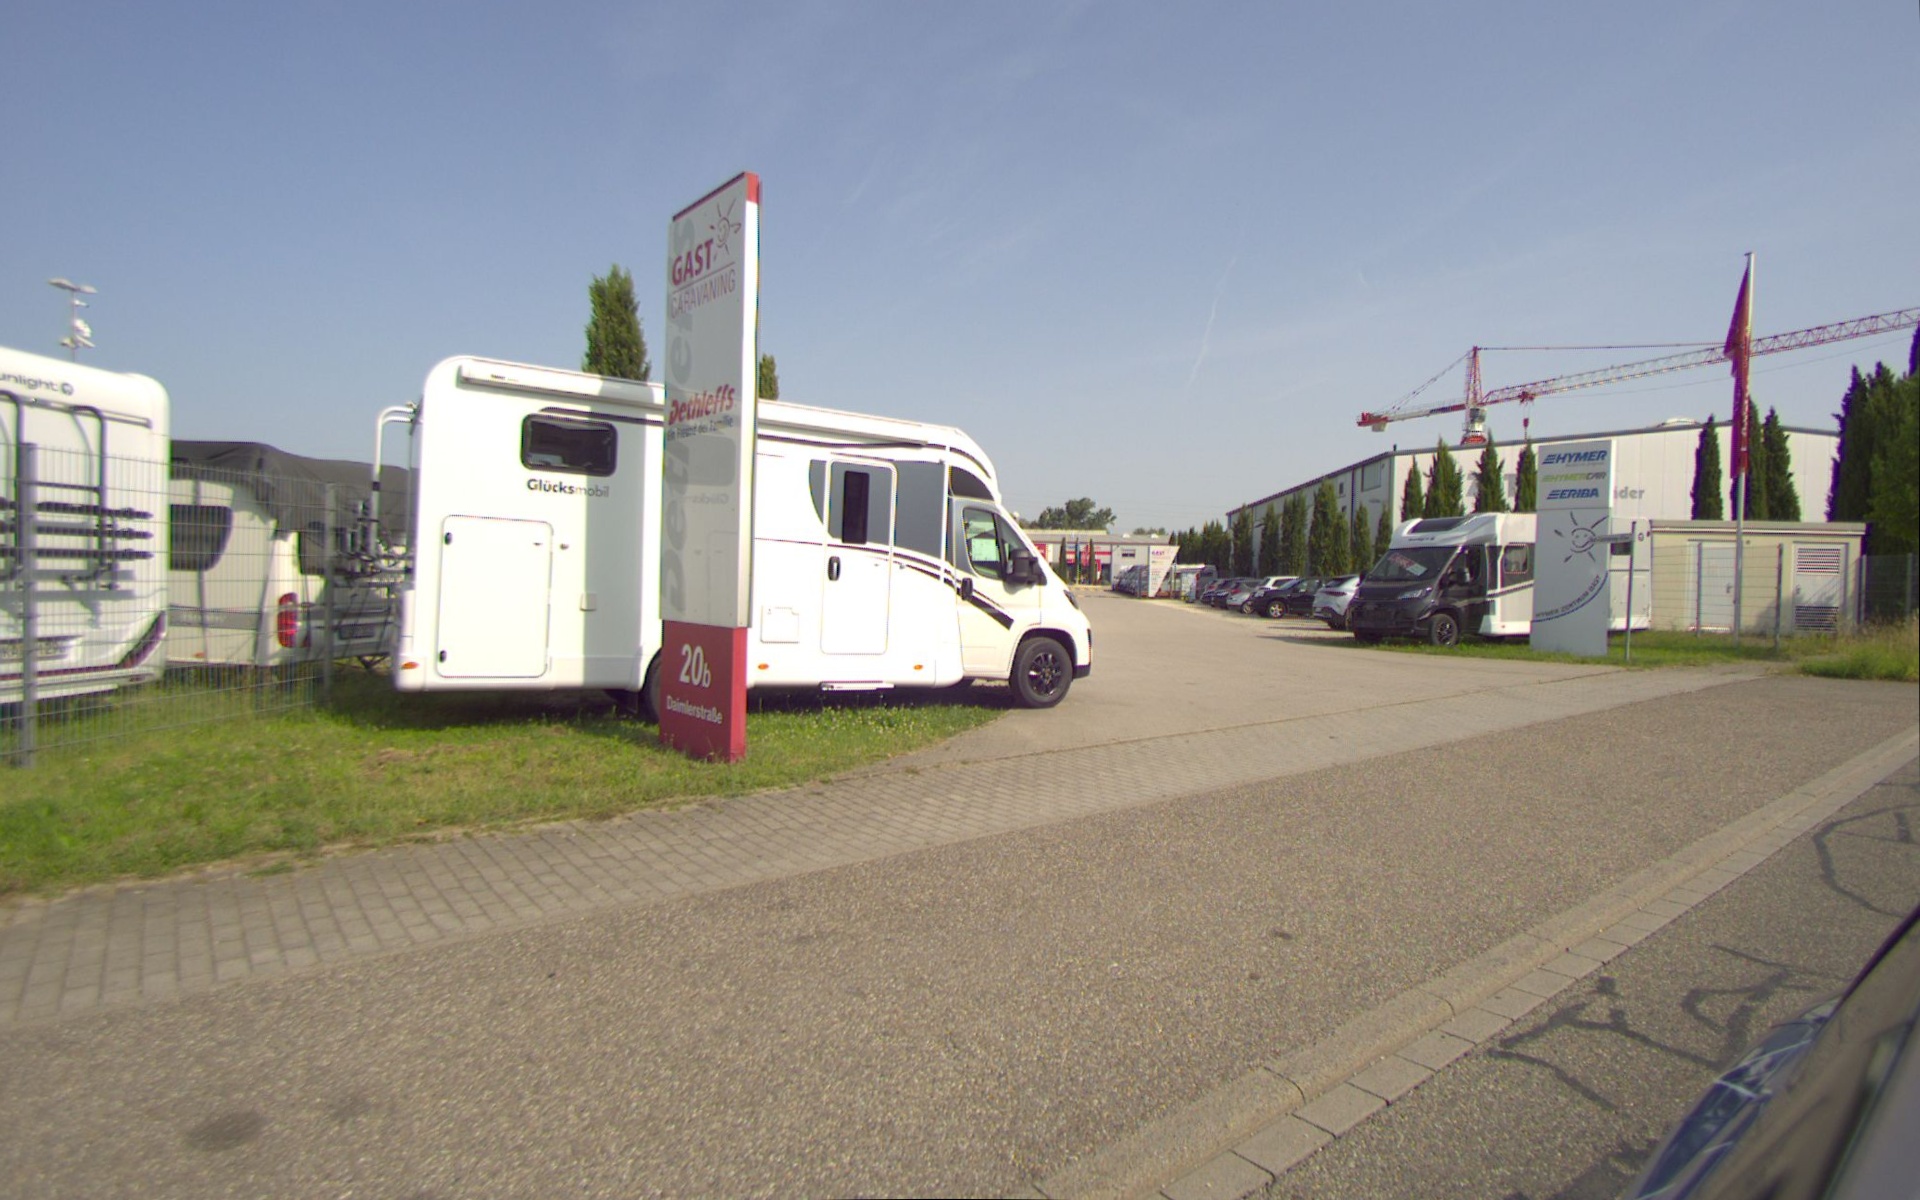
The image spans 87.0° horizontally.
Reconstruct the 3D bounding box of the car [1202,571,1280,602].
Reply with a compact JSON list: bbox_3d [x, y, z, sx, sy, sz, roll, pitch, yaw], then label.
[{"bbox_3d":[16.115,-0.802,58.160,3.924,1.636,1.716,2,2,0],"label":"car"}]

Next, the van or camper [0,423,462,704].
[{"bbox_3d":[-9.201,-0.485,10.999,6.511,2.589,2.489,2,4,7],"label":"van or camper"}]

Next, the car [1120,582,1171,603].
[{"bbox_3d":[15.694,-0.646,85.826,3.924,1.636,1.716,2,2,0],"label":"car"}]

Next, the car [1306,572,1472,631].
[{"bbox_3d":[12.216,0.018,28.990,3.924,1.498,1.716,2,2,0],"label":"car"}]

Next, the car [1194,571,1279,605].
[{"bbox_3d":[14.563,-0.661,53.457,3.924,1.636,1.716,2,2,0],"label":"car"}]

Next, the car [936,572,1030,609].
[{"bbox_3d":[1.018,-0.393,42.867,3.876,1.479,1.540,1,-1,6],"label":"car"}]

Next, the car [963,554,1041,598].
[{"bbox_3d":[2.649,-1.504,63.426,4.624,2.631,1.710,1,1,11],"label":"car"}]

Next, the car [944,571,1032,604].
[{"bbox_3d":[1.255,-0.544,45.447,3.875,1.390,1.541,1,-1,4],"label":"car"}]

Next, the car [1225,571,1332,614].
[{"bbox_3d":[13.497,-0.344,43.075,3.924,1.636,1.716,2,2,0],"label":"car"}]

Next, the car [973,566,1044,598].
[{"bbox_3d":[2.705,-0.981,56.459,3.876,1.691,1.540,1,-1,6],"label":"car"}]

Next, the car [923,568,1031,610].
[{"bbox_3d":[0.639,-0.395,37.428,3.927,1.515,1.714,0,-1,3],"label":"car"}]

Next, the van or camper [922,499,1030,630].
[{"bbox_3d":[0.379,-0.914,27.548,2.536,3.069,7.283,1,1,0],"label":"van or camper"}]

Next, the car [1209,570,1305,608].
[{"bbox_3d":[14.000,-0.523,47.820,3.924,1.636,1.716,2,2,0],"label":"car"}]

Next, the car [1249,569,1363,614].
[{"bbox_3d":[13.853,-0.358,40.715,3.924,1.636,1.716,2,2,0],"label":"car"}]

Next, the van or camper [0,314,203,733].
[{"bbox_3d":[-9.596,-0.594,7.385,6.508,2.786,2.488,1,1,5],"label":"van or camper"}]

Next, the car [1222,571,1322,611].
[{"bbox_3d":[14.011,-0.435,45.569,3.924,1.636,1.716,2,2,0],"label":"car"}]

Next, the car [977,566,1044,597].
[{"bbox_3d":[2.972,-1.086,59.056,3.876,1.691,1.540,1,-1,6],"label":"car"}]

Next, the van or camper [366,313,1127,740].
[{"bbox_3d":[-1.784,-0.523,9.846,6.833,2.980,2.340,0,1,-32],"label":"van or camper"}]

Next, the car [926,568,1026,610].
[{"bbox_3d":[0.673,-0.421,40.147,3.875,1.612,1.713,0,-1,5],"label":"car"}]

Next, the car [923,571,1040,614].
[{"bbox_3d":[0.713,-0.229,34.623,3.924,1.435,1.715,0,-1,0],"label":"car"}]

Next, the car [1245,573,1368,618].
[{"bbox_3d":[12.930,-0.202,37.895,3.924,1.498,1.716,2,2,0],"label":"car"}]

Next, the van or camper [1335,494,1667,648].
[{"bbox_3d":[11.575,-0.656,21.508,7.190,2.883,2.361,-1,1,-25],"label":"van or camper"}]

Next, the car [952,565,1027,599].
[{"bbox_3d":[1.604,-0.957,53.973,3.876,1.691,1.540,1,-1,6],"label":"car"}]
